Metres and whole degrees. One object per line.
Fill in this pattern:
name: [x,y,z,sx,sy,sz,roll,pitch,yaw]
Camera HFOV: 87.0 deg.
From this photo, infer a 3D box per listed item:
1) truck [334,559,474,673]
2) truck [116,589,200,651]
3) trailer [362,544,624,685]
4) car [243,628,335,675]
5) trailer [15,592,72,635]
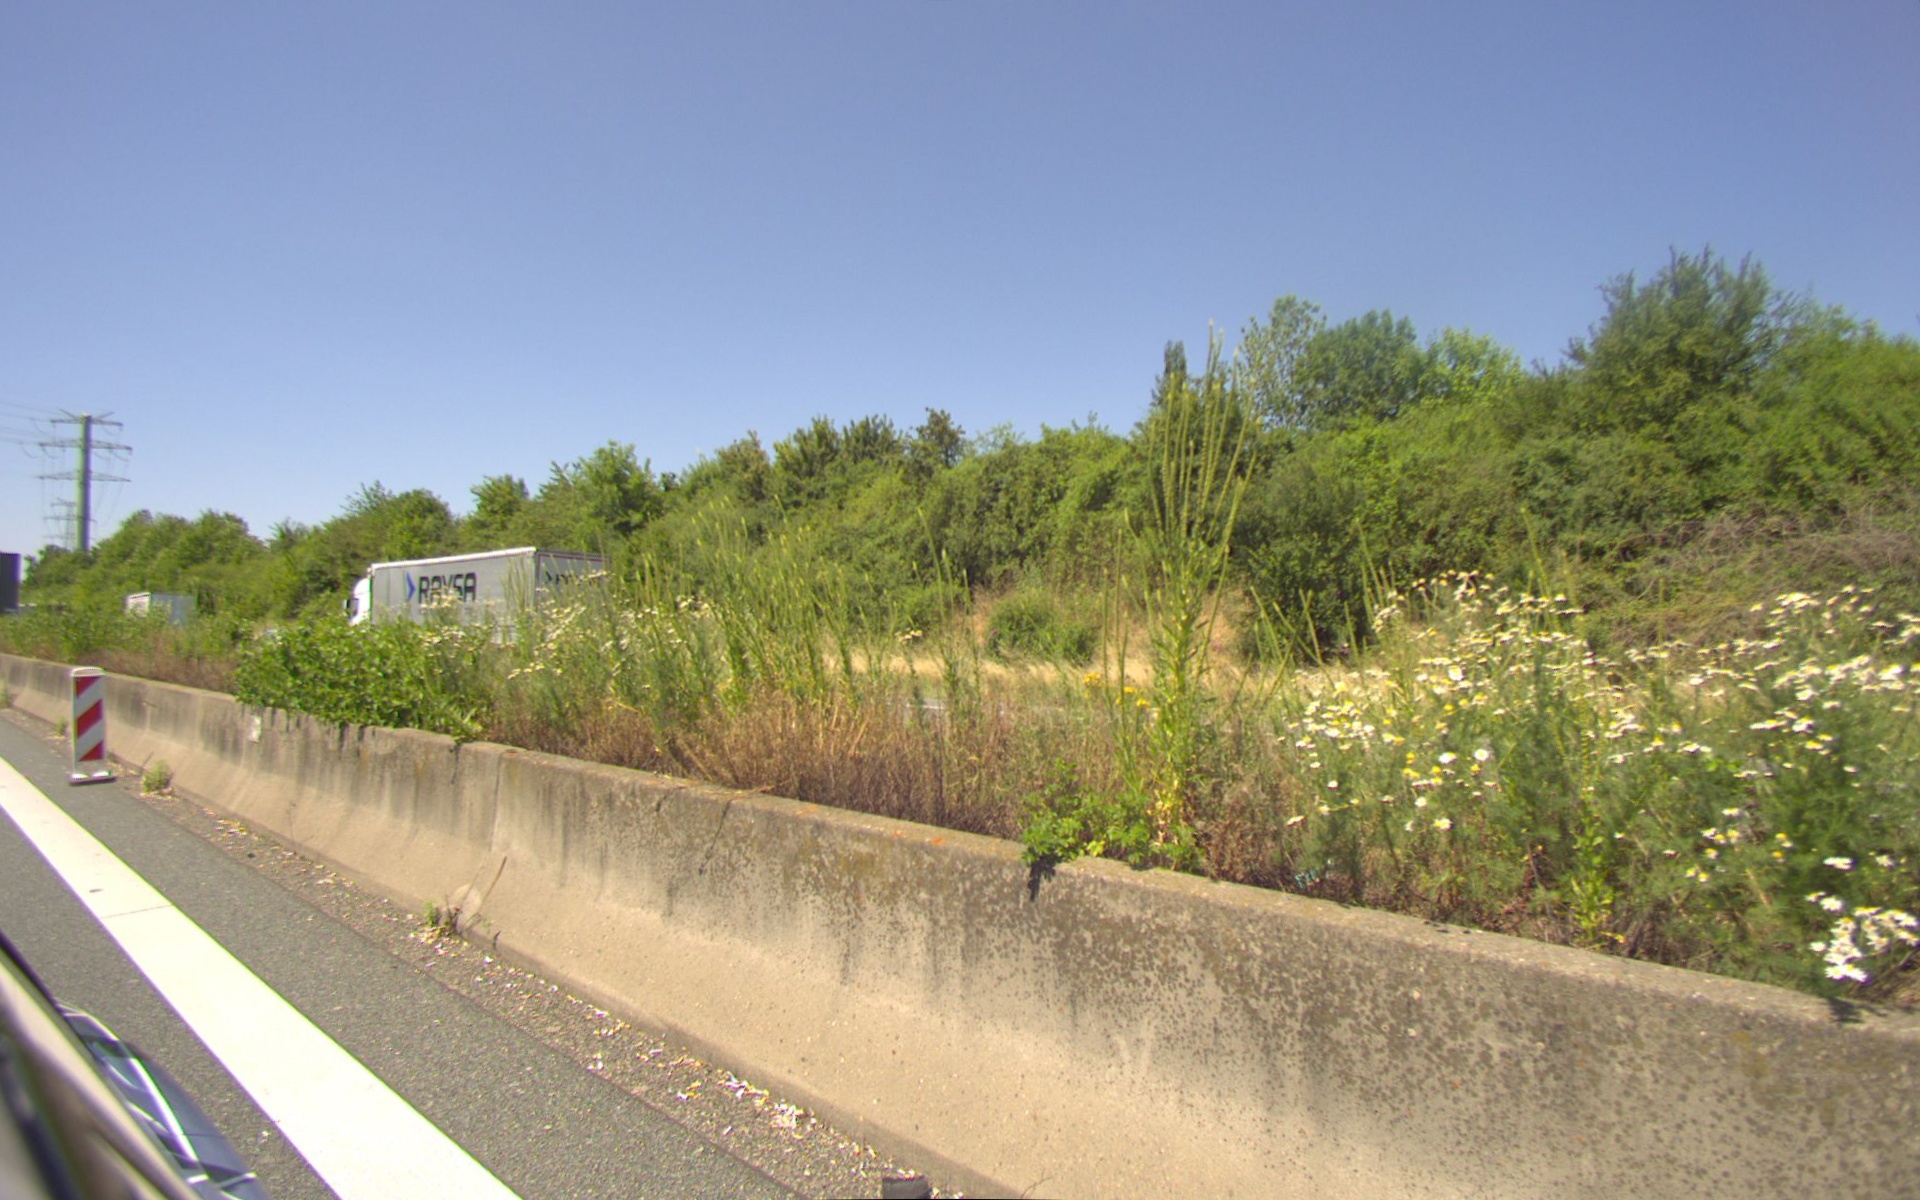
truck: [-22.467,0.716,40.813,5.804,4.199,2.984,-1,-5,42]
truck: [-54.634,1.390,68.870,9.026,3.918,2.733,-1,-5,42]
trailer: [-17.033,0.627,35.923,14.016,4.199,2.984,-1,-5,42]
car: [-23.711,1.771,35.715,3.998,1.544,1.685,-1,-2,41]
trailer: [-97.636,1.521,107.729,14.192,4.199,2.723,-1,-5,42]
